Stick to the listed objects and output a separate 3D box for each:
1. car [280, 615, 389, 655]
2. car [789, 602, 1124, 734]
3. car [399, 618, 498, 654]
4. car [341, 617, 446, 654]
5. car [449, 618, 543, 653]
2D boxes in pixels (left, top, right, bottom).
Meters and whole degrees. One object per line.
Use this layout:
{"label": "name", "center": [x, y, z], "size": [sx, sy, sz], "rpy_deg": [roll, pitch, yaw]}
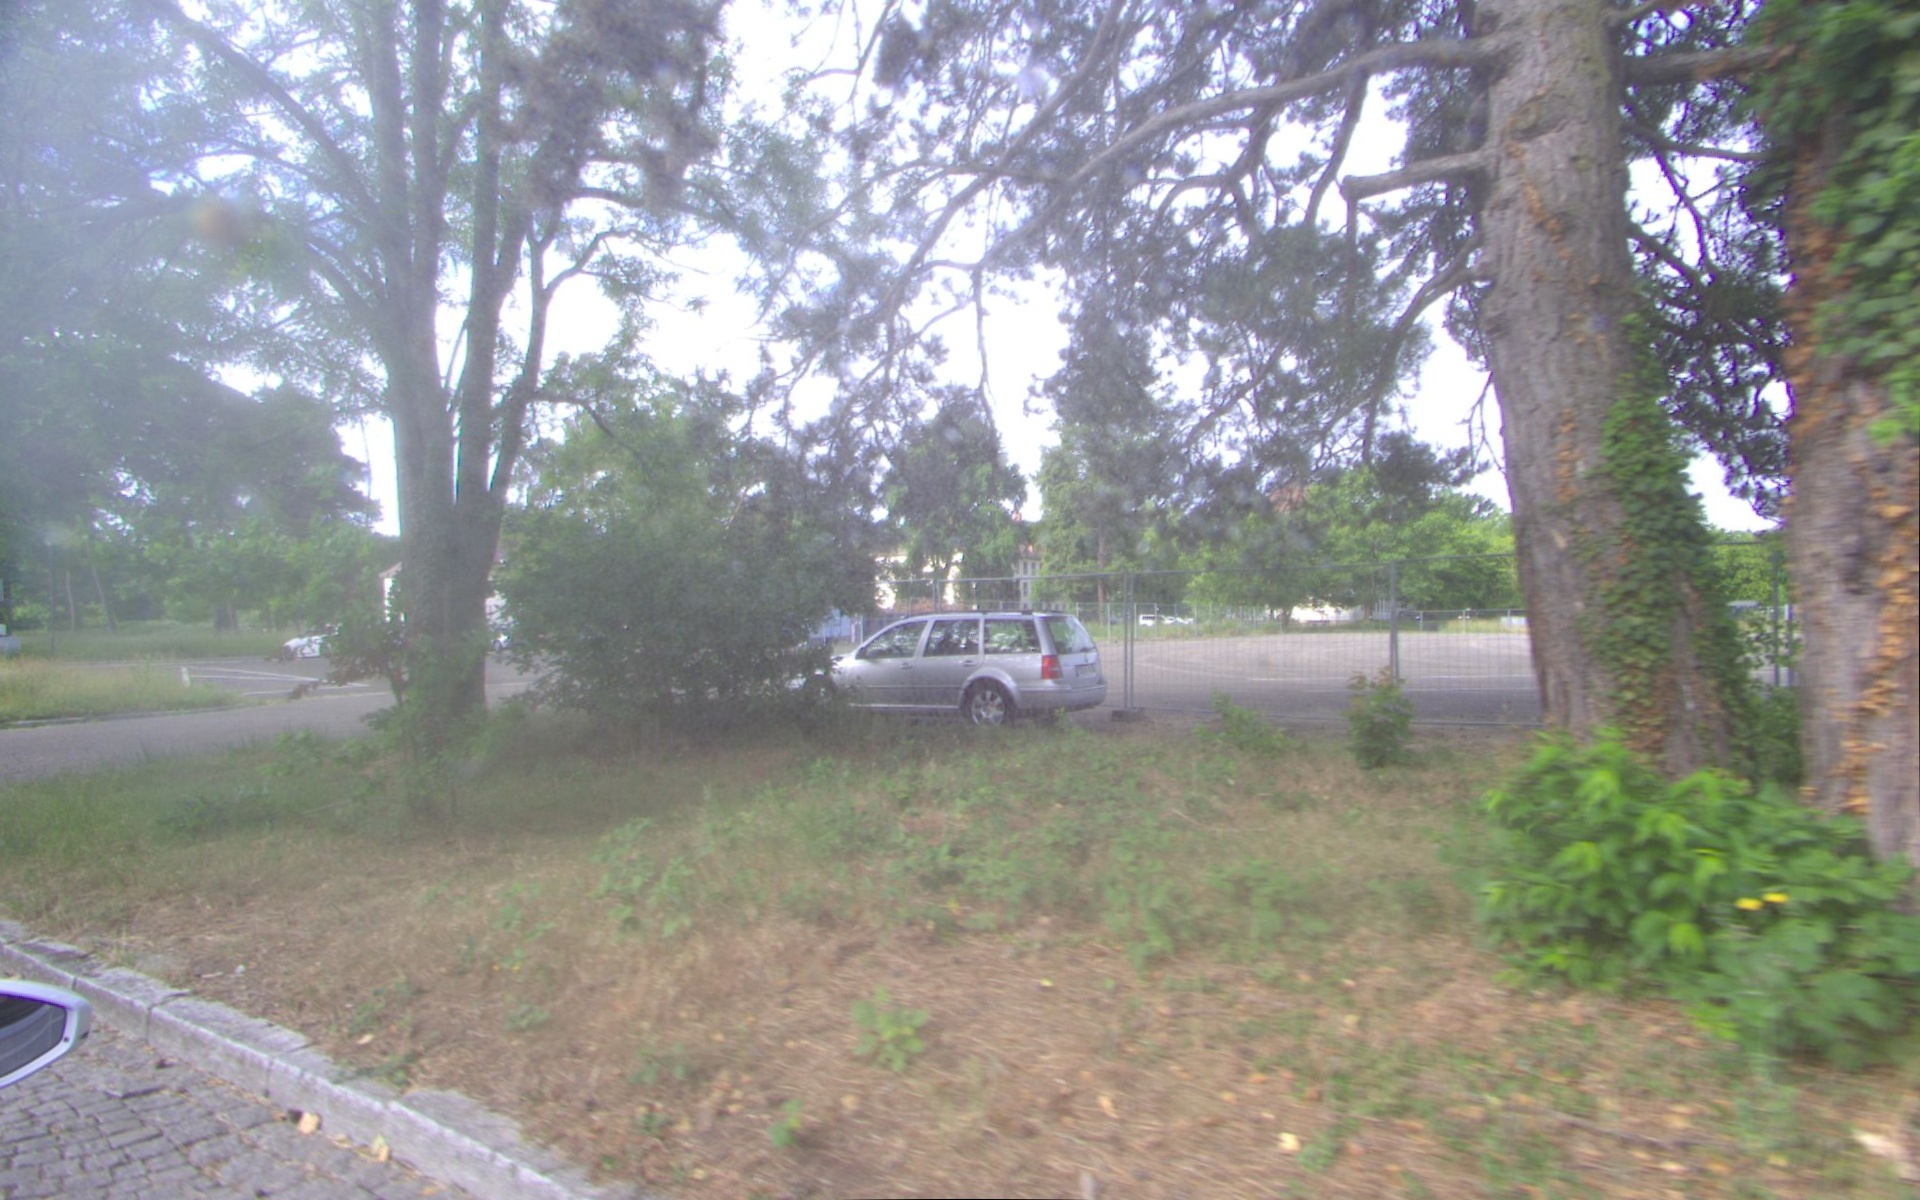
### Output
{"label": "car", "center": [-25.919, 1.451, 41.464], "size": [4.359, 1.500, 1.992], "rpy_deg": [-3, -2, 29]}
{"label": "car", "center": [-0.097, 0.824, 12.776], "size": [4.014, 1.444, 1.645], "rpy_deg": [-1, -4, 31]}
{"label": "car", "center": [-23.562, 1.653, 46.103], "size": [4.359, 1.500, 1.992], "rpy_deg": [-3, -2, 29]}
{"label": "car", "center": [-24.734, 1.548, 43.690], "size": [4.359, 1.500, 1.992], "rpy_deg": [-3, -2, 29]}
{"label": "car", "center": [-22.542, 1.742, 48.616], "size": [4.359, 1.542, 1.992], "rpy_deg": [-3, -3, 29]}
